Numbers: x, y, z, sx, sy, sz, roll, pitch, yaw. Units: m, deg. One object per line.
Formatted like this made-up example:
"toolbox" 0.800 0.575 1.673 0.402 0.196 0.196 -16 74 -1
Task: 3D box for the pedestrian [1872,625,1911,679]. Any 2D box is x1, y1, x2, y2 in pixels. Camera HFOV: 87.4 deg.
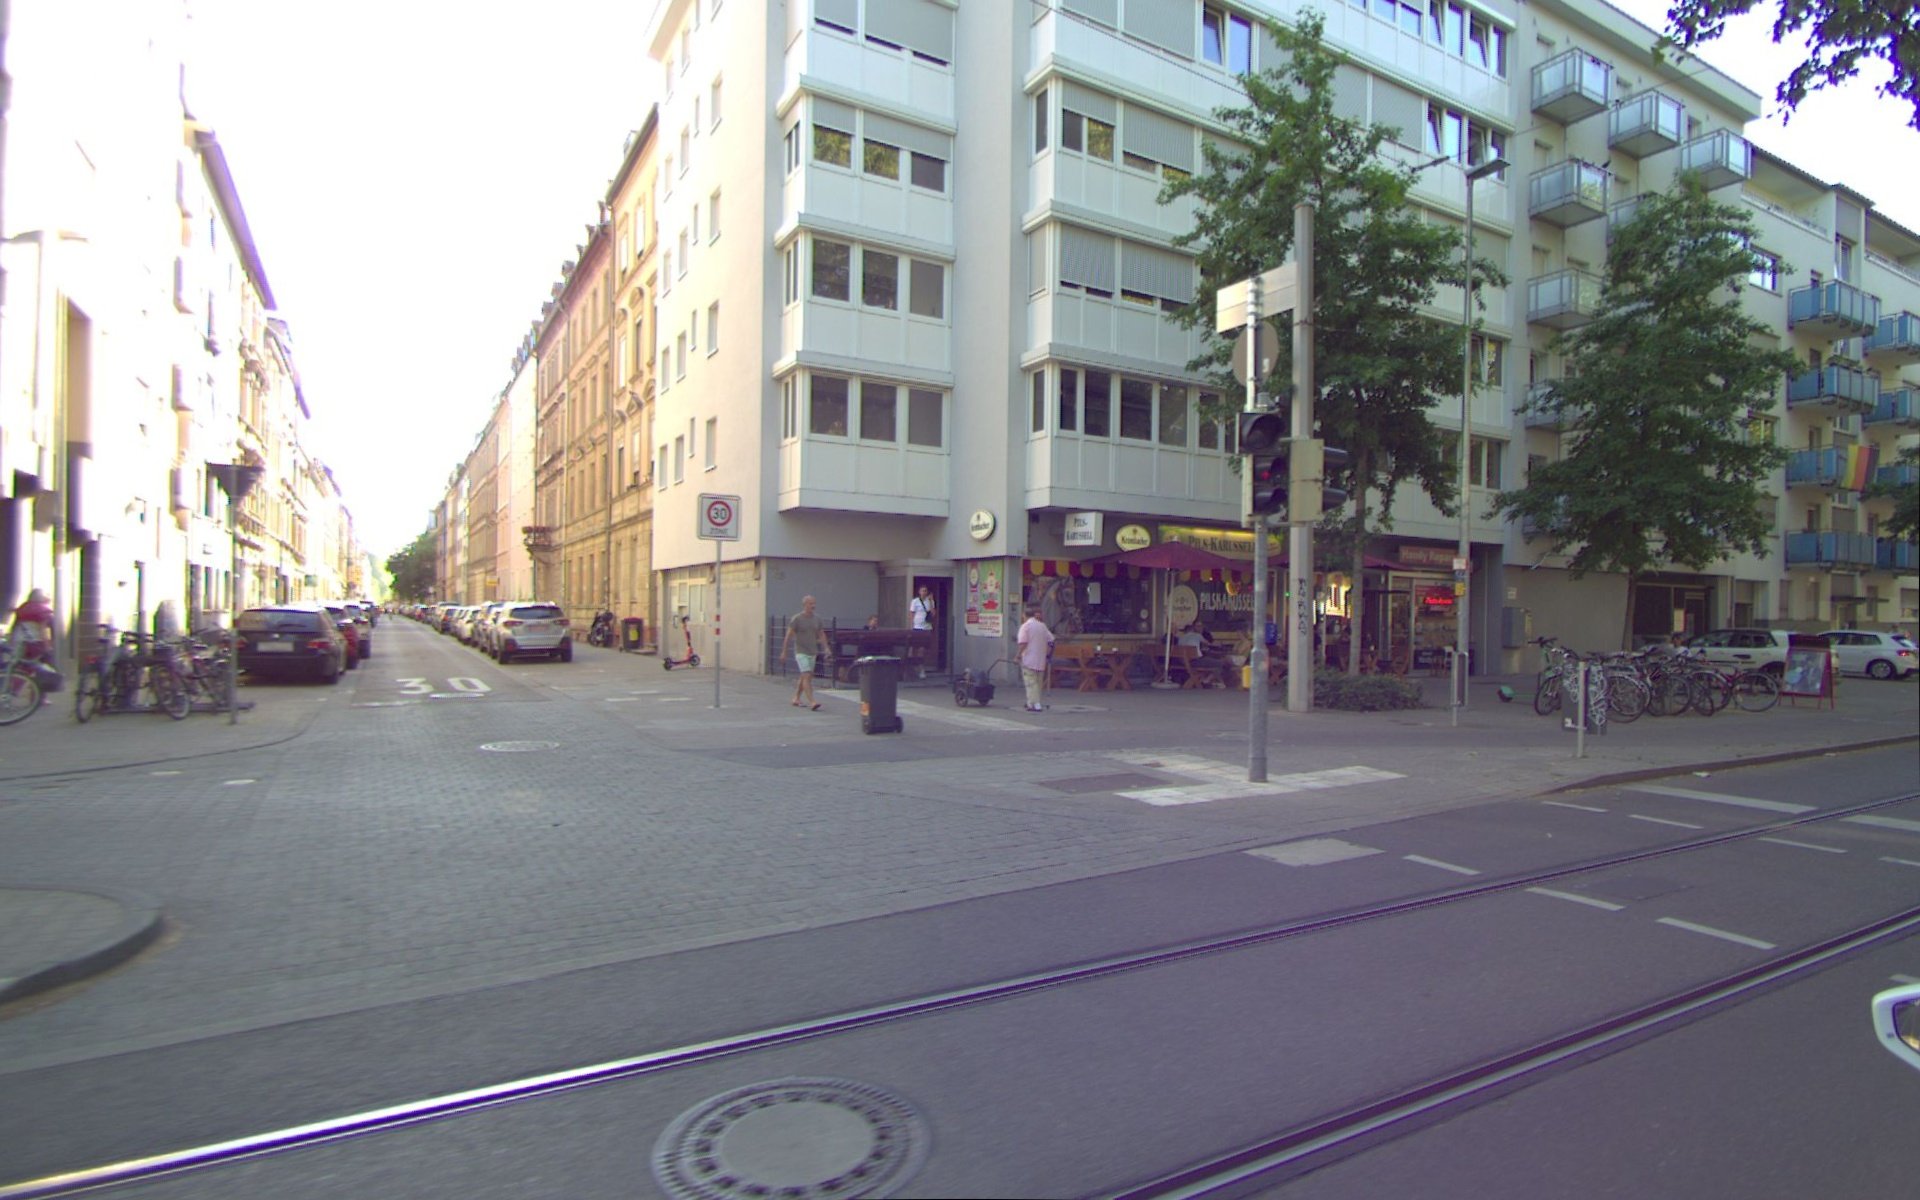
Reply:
"pedestrian" 30.373 1.687 32.746 0.786 1.713 0.759 1 -1 -32

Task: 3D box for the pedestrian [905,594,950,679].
"pedestrian" -0.660 0.737 20.303 0.756 1.681 0.747 1 -1 -15

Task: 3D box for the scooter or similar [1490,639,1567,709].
"scooter or similar" 10.313 1.328 18.244 0.492 1.192 1.074 2 0 -31

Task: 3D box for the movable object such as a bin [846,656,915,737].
"movable object such as a bin" -0.983 1.178 12.446 0.533 0.944 0.646 0 -1 43

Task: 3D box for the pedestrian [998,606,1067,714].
"pedestrian" 1.105 0.893 15.269 0.761 1.577 0.720 1 -1 -36

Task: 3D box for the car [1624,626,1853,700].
"car" 18.758 1.468 24.394 1.829 1.495 3.994 2 0 -29

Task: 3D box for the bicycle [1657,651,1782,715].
"bicycle" 13.831 1.490 18.328 0.651 1.020 1.680 2 0 -34

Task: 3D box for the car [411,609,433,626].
"car" -54.100 1.753 100.953 1.868 1.602 3.968 1 -1 -30

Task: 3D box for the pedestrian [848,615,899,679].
"pedestrian" -1.746 0.940 20.371 0.735 1.258 0.768 0 -1 26

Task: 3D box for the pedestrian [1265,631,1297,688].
"pedestrian" 7.042 1.295 22.021 0.591 1.214 0.691 0 -1 25

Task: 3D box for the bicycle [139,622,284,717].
"bicycle" -9.951 0.883 13.444 0.561 1.172 1.790 1 -1 1

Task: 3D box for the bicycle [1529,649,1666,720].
"bicycle" 10.626 1.384 16.802 0.651 1.020 1.817 2 0 -34

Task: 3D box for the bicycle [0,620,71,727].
"bicycle" -11.315 0.839 12.074 2.006 1.172 0.570 0 -1 38

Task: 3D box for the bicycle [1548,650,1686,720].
"bicycle" 11.055 1.406 16.954 0.651 1.020 1.817 2 0 -34

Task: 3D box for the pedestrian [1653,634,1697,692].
"pedestrian" 16.819 1.459 23.619 0.906 1.314 0.705 2 -1 -44

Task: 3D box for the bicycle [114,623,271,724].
"bicycle" -9.654 0.882 12.727 0.561 1.172 1.790 1 -1 1

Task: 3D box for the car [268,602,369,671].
"car" -15.378 0.834 24.247 1.783 1.524 3.753 1 -1 -29

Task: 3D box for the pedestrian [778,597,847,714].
"pedestrian" -2.236 0.822 15.185 0.761 1.693 0.752 1 -1 -36

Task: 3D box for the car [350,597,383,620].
"car" -41.359 0.594 70.038 1.872 1.524 3.753 1 -1 -29

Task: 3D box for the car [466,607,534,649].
"car" -16.381 0.964 35.670 1.868 1.402 3.968 2 -1 -30

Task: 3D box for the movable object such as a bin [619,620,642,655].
"movable object such as a bin" -10.074 1.141 30.728 0.640 1.071 0.538 1 -1 -21

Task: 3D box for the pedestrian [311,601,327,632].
"pedestrian" -33.892 0.876 53.096 0.658 1.577 0.719 1 -1 -34

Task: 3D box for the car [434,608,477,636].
"car" -27.292 1.178 54.263 1.868 1.402 3.968 2 -1 -30

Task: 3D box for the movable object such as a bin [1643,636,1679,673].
"movable object such as a bin" 20.763 1.619 29.760 0.614 1.069 0.675 1 -1 -28

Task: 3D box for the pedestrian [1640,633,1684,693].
"pedestrian" 15.900 1.423 22.754 0.742 1.314 0.705 2 -1 -44

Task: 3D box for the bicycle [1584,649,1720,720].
"bicycle" 11.920 1.428 17.362 0.651 1.078 1.817 2 0 -34

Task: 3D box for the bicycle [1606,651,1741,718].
"bicycle" 12.602 1.463 17.793 0.651 1.020 1.817 2 0 -34

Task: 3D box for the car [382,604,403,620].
"car" -60.835 1.275 107.707 1.868 1.602 3.968 1 -1 -30

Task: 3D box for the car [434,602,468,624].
"car" -35.012 0.881 69.072 1.868 1.402 3.968 2 -1 -30

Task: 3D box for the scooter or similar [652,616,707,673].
"scooter or similar" -6.493 1.012 23.313 0.489 1.276 1.306 0 -1 24

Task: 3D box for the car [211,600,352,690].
"car" -12.979 0.804 19.462 1.872 1.524 4.261 1 -1 -29

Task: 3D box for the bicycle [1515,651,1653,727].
"bicycle" 9.647 1.351 15.579 0.651 1.020 1.680 2 0 -34

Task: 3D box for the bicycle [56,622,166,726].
"bicycle" -10.467 0.868 12.445 0.564 1.172 1.853 1 -1 -25

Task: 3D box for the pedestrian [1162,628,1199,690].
"pedestrian" 4.475 1.189 20.403 0.506 1.214 0.560 0 -1 44

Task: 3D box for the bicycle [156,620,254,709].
"bicycle" -10.713 0.879 14.321 0.563 1.172 1.782 1 -1 -19

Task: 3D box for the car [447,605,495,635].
"car" -24.261 0.983 49.796 1.868 1.402 3.968 2 -1 -30

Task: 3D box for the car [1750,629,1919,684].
"car" 27.745 1.737 31.720 1.831 1.495 3.990 2 0 -32

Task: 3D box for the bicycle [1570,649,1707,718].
"bicycle" 11.619 1.409 17.254 0.651 1.020 1.817 2 0 -34

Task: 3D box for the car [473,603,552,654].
"car" -14.084 0.872 31.472 1.868 1.498 3.968 2 -1 -30

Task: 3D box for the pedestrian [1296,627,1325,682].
"pedestrian" 7.820 1.204 22.387 0.504 1.214 0.562 0 -1 31

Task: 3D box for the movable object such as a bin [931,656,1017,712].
"movable object such as a bin" 0.218 1.296 15.706 1.178 0.767 0.663 2 0 39

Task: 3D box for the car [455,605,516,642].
"car" -18.822 0.915 39.791 1.868 1.402 3.968 2 -1 -30

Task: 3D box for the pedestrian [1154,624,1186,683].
"pedestrian" 4.427 1.113 21.194 0.553 1.214 0.513 0 -1 25

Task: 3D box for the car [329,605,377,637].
"car" -30.327 1.021 50.273 1.872 1.524 3.753 1 -1 -29

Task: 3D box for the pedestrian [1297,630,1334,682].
"pedestrian" 8.473 1.321 23.962 0.617 1.214 0.559 1 -1 -31

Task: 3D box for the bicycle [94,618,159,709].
"bicycle" -11.552 0.841 13.955 0.567 1.172 1.771 1 -1 -36

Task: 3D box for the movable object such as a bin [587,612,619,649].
"movable object such as a bin" -12.502 1.048 35.169 0.702 1.267 2.101 1 -1 -29

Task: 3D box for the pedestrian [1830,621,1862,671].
"pedestrian" 31.138 1.598 35.312 0.740 1.713 0.660 1 -1 -32

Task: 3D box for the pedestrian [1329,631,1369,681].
"pedestrian" 9.542 1.365 24.654 0.648 1.214 0.669 1 -1 -31

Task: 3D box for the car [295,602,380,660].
"car" -17.766 0.858 28.593 1.876 1.524 3.746 2 -1 -34

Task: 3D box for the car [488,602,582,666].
"car" -11.587 0.877 27.236 1.868 1.602 3.968 1 -1 -30

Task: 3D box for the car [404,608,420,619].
"car" -77.081 1.886 141.324 1.868 1.602 3.968 1 -1 -30

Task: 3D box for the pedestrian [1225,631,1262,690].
"pedestrian" 5.970 1.260 21.145 0.557 1.214 0.509 1 -1 -29

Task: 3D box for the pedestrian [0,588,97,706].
"pedestrian" -12.638 0.641 13.921 0.711 1.577 0.728 1 -1 13

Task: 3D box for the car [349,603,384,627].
"car" -39.313 1.000 66.570 1.872 1.524 3.753 1 -1 -29

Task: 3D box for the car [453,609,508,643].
"car" -21.099 1.113 44.147 1.868 1.402 3.968 2 -1 -30
